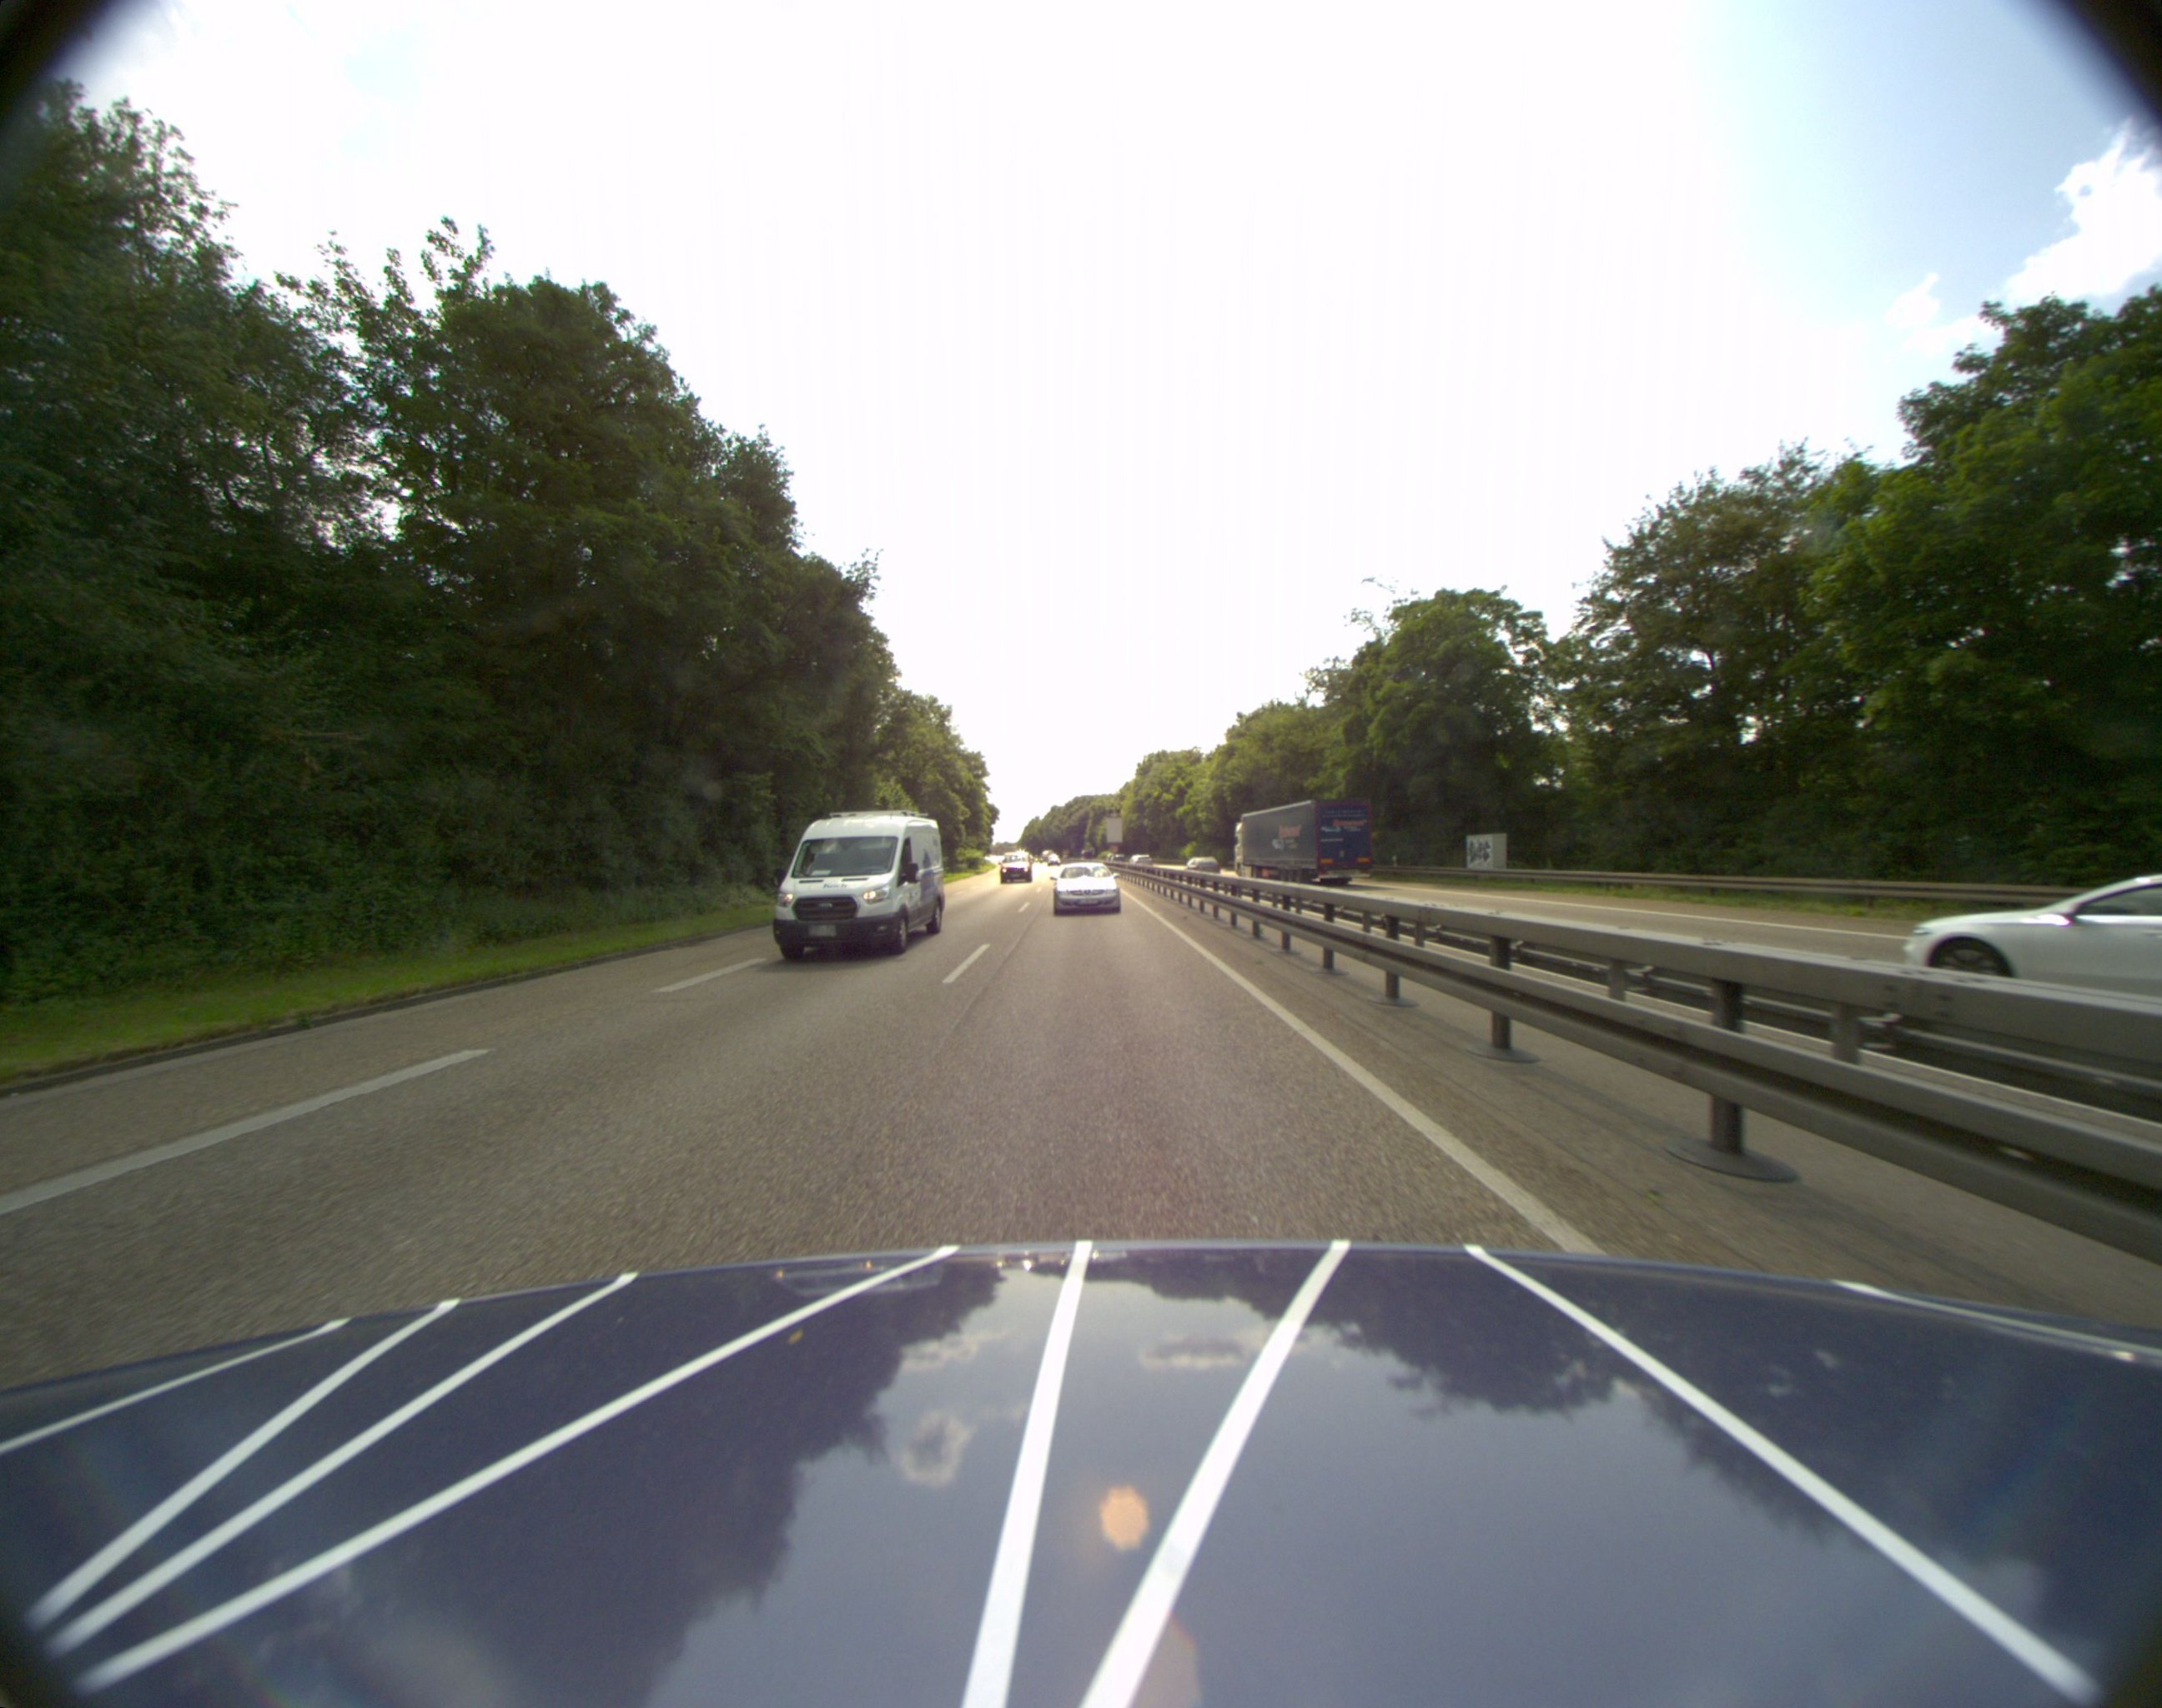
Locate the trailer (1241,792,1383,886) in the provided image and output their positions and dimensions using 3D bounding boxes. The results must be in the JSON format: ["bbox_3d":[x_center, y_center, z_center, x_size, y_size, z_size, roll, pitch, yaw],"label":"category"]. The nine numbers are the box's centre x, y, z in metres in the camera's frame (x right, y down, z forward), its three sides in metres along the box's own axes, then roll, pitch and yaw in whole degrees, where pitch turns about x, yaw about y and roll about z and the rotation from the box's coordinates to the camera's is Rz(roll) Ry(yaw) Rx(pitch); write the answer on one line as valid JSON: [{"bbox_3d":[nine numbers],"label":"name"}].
[{"bbox_3d":[11.706,-0.775,40.525,3.413,4.056,12.976,-2,1,-1],"label":"trailer"}]

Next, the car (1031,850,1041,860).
[{"bbox_3d":[-9.638,0.192,161.656,1.999,2.002,3.998,-1,0,-3],"label":"car"}]

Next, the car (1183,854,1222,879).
[{"bbox_3d":[7.431,0.749,46.736,1.666,1.436,4.008,-1,0,-1],"label":"car"}]

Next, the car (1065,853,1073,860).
[{"bbox_3d":[-3.313,0.730,213.800,1.861,2.005,3.991,-1,0,-5],"label":"car"}]

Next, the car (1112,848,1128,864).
[{"bbox_3d":[4.997,0.274,97.153,1.860,2.005,3.993,-1,0,0],"label":"car"}]

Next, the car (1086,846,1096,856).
[{"bbox_3d":[2.122,-0.694,167.604,1.861,2.005,3.991,-1,0,-4],"label":"car"}]

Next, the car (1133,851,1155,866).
[{"bbox_3d":[6.473,0.451,78.479,1.860,1.506,3.993,-1,0,0],"label":"car"}]

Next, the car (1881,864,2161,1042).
[{"bbox_3d":[10.159,0.875,6.486,1.683,1.423,4.549,-3,0,-4],"label":"car"}]

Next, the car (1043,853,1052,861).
[{"bbox_3d":[-6.287,0.533,142.536,1.473,1.560,3.292,-1,1,-6],"label":"car"}]

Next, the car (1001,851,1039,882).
[{"bbox_3d":[-3.761,0.740,47.395,1.908,1.795,4.395,-3,0,1],"label":"car"}]

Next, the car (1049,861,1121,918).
[{"bbox_3d":[0.114,0.926,21.846,1.751,1.295,5.223,-3,0,0],"label":"car"}]

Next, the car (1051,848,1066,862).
[{"bbox_3d":[-3.267,0.153,107.936,1.999,2.002,3.998,-1,0,-3],"label":"car"}]

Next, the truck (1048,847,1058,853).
[{"bbox_3d":[-9.128,-1.321,250.078,2.930,2.153,8.771,-1,0,-4],"label":"truck"}]

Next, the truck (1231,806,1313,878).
[{"bbox_3d":[11.708,-0.744,47.285,3.383,4.073,6.128,-2,1,-1],"label":"truck"}]

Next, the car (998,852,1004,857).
[{"bbox_3d":[-25.196,0.193,239.516,1.786,1.513,3.997,-1,0,-7],"label":"car"}]

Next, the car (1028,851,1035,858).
[{"bbox_3d":[-12.102,0.162,185.450,1.700,1.579,3.998,-1,1,-3],"label":"car"}]

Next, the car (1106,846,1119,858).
[{"bbox_3d":[5.571,-0.354,134.825,1.860,2.005,3.992,-1,0,-1],"label":"car"}]

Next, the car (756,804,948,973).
[{"bbox_3d":[-3.967,0.520,14.296,2.104,2.493,5.277,-3,0,-3],"label":"car"}]
